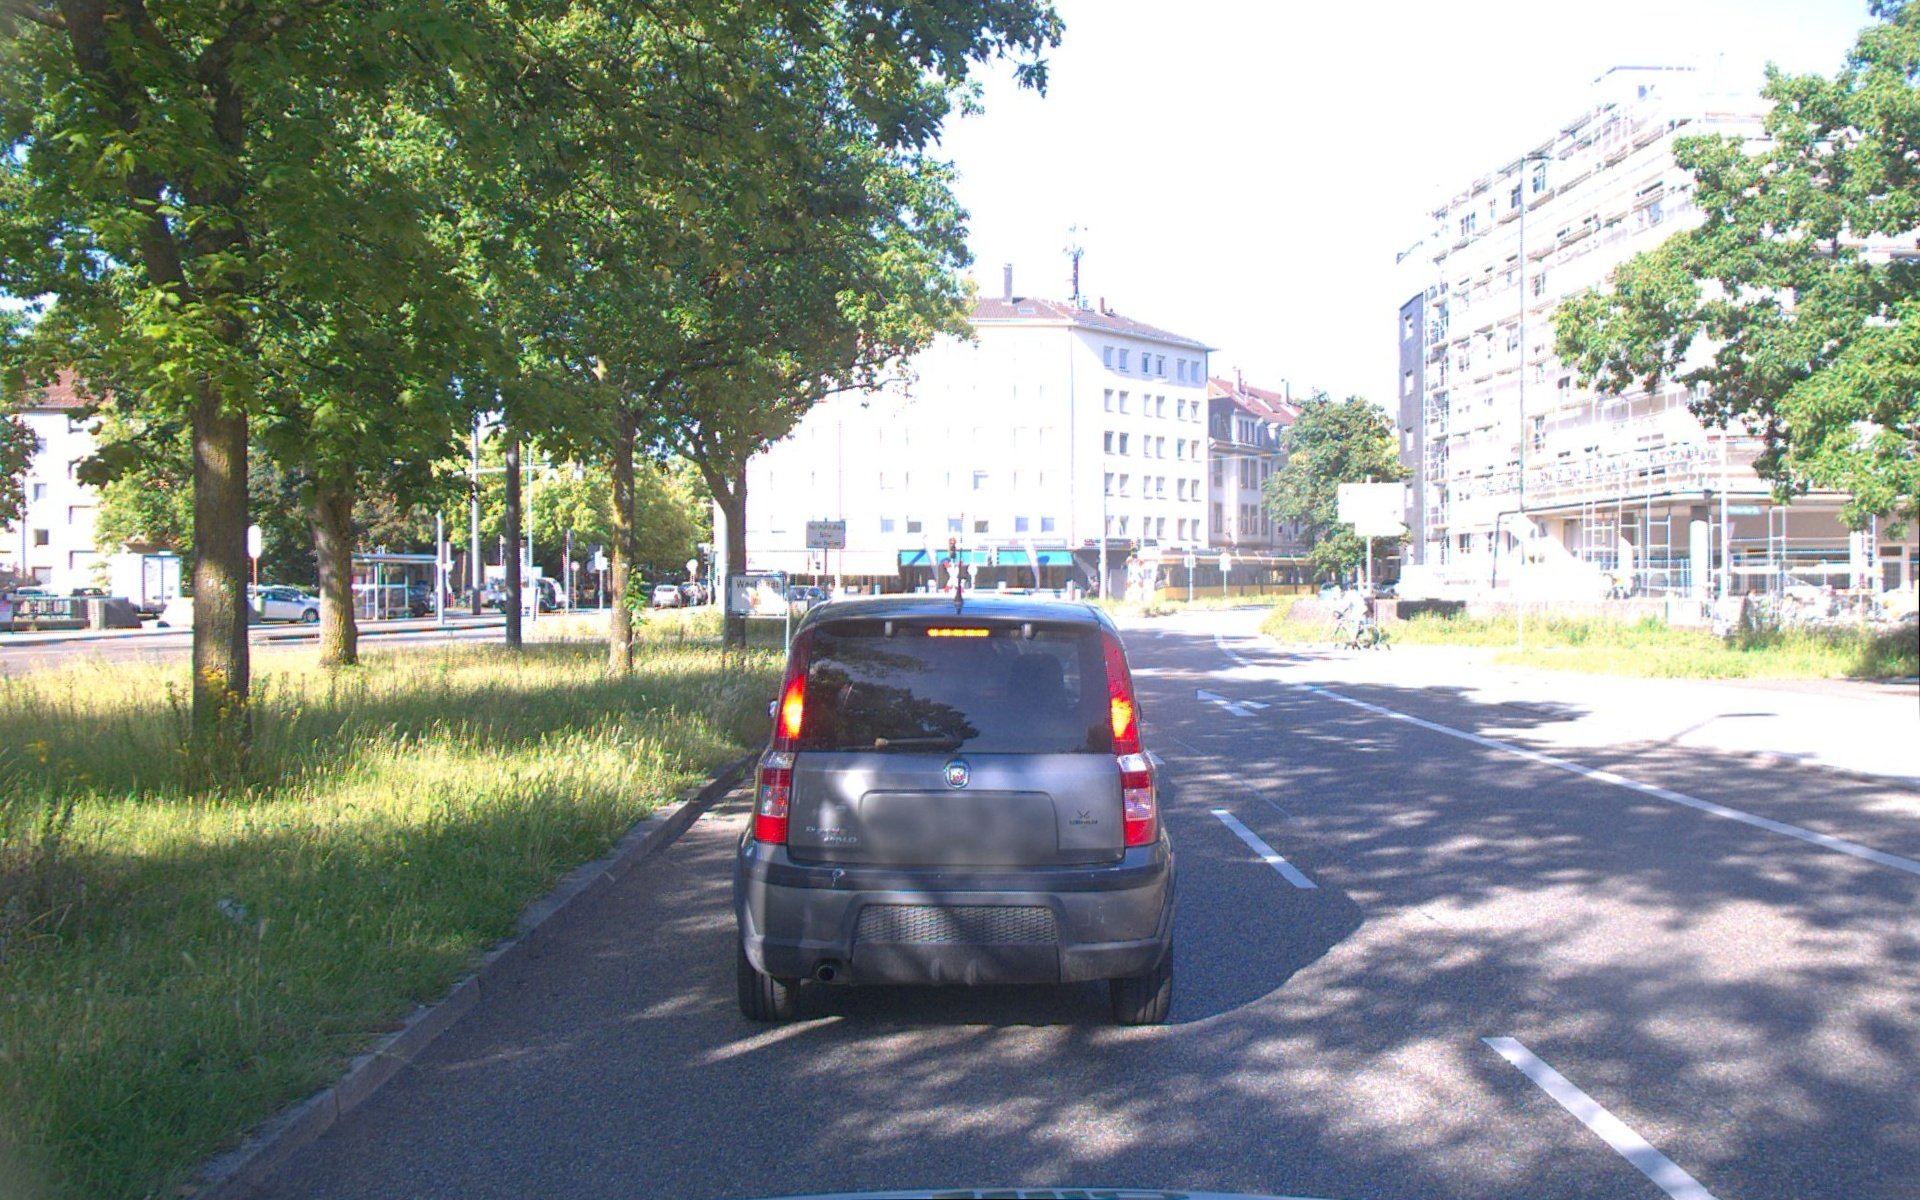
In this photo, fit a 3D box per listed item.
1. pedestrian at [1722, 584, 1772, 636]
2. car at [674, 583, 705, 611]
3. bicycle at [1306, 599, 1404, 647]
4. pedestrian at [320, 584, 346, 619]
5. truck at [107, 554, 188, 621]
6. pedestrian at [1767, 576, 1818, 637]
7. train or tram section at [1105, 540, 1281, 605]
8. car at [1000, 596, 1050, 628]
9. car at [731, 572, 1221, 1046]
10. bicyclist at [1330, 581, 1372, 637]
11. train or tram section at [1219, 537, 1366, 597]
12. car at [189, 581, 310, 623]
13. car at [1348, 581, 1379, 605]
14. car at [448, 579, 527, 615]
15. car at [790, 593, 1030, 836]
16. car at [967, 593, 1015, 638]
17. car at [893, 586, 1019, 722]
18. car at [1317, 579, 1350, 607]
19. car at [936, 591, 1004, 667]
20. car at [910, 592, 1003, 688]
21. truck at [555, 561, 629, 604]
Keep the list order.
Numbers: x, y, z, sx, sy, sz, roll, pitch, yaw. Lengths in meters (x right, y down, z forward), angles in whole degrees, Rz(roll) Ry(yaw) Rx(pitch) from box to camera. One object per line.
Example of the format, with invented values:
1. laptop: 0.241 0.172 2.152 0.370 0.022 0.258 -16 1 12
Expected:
1. pedestrian: 22.317 0.278 46.897 0.877 1.472 0.963 0 0 -12
2. car: -20.153 -0.245 123.284 1.954 2.049 3.996 0 1 -5
3. bicycle: 10.487 0.595 44.016 2.471 1.219 0.707 1 -1 38
4. pedestrian: -29.254 0.069 77.207 0.904 1.636 0.794 0 0 38
5. truck: -35.745 -0.553 72.690 3.932 2.854 1.987 0 1 44
6. pedestrian: 23.454 0.174 46.602 0.872 1.682 0.986 0 0 -9
7. train or tram section: 14.556 -1.641 100.542 3.235 3.574 19.340 0 1 31
8. car: 2.283 0.401 57.701 1.118 1.083 2.723 0 1 17
9. car: 0.028 0.659 7.411 1.595 1.534 3.999 0 1 -1
10. bicyclist: 10.421 0.247 44.067 0.829 1.463 0.740 1 -1 38
11. train or tram section: 23.576 -2.239 115.411 3.235 3.836 20.762 0 1 31
12. car: -29.956 0.048 69.784 1.961 1.713 4.302 0 1 38
13. car: 23.010 -0.396 94.241 1.495 1.337 3.289 0 1 17
14. car: -27.933 -0.185 97.836 4.093 2.049 1.930 0 0 -3
15. car: -0.322 0.680 11.627 1.434 1.425 3.393 0 1 -1
16. car: 0.916 0.442 49.605 1.328 1.304 2.875 0 1 -1
17. car: -0.075 0.602 20.672 1.434 1.534 3.504 0 1 -1
18. car: 20.505 -0.394 90.711 1.646 1.475 3.574 0 1 15
19. car: 0.175 0.554 33.860 1.328 1.475 3.265 0 0 -1
20. car: -0.083 0.607 27.278 1.434 1.449 3.381 0 1 -1
21. truck: -28.357 -1.355 127.368 5.371 3.224 2.341 0 0 28
